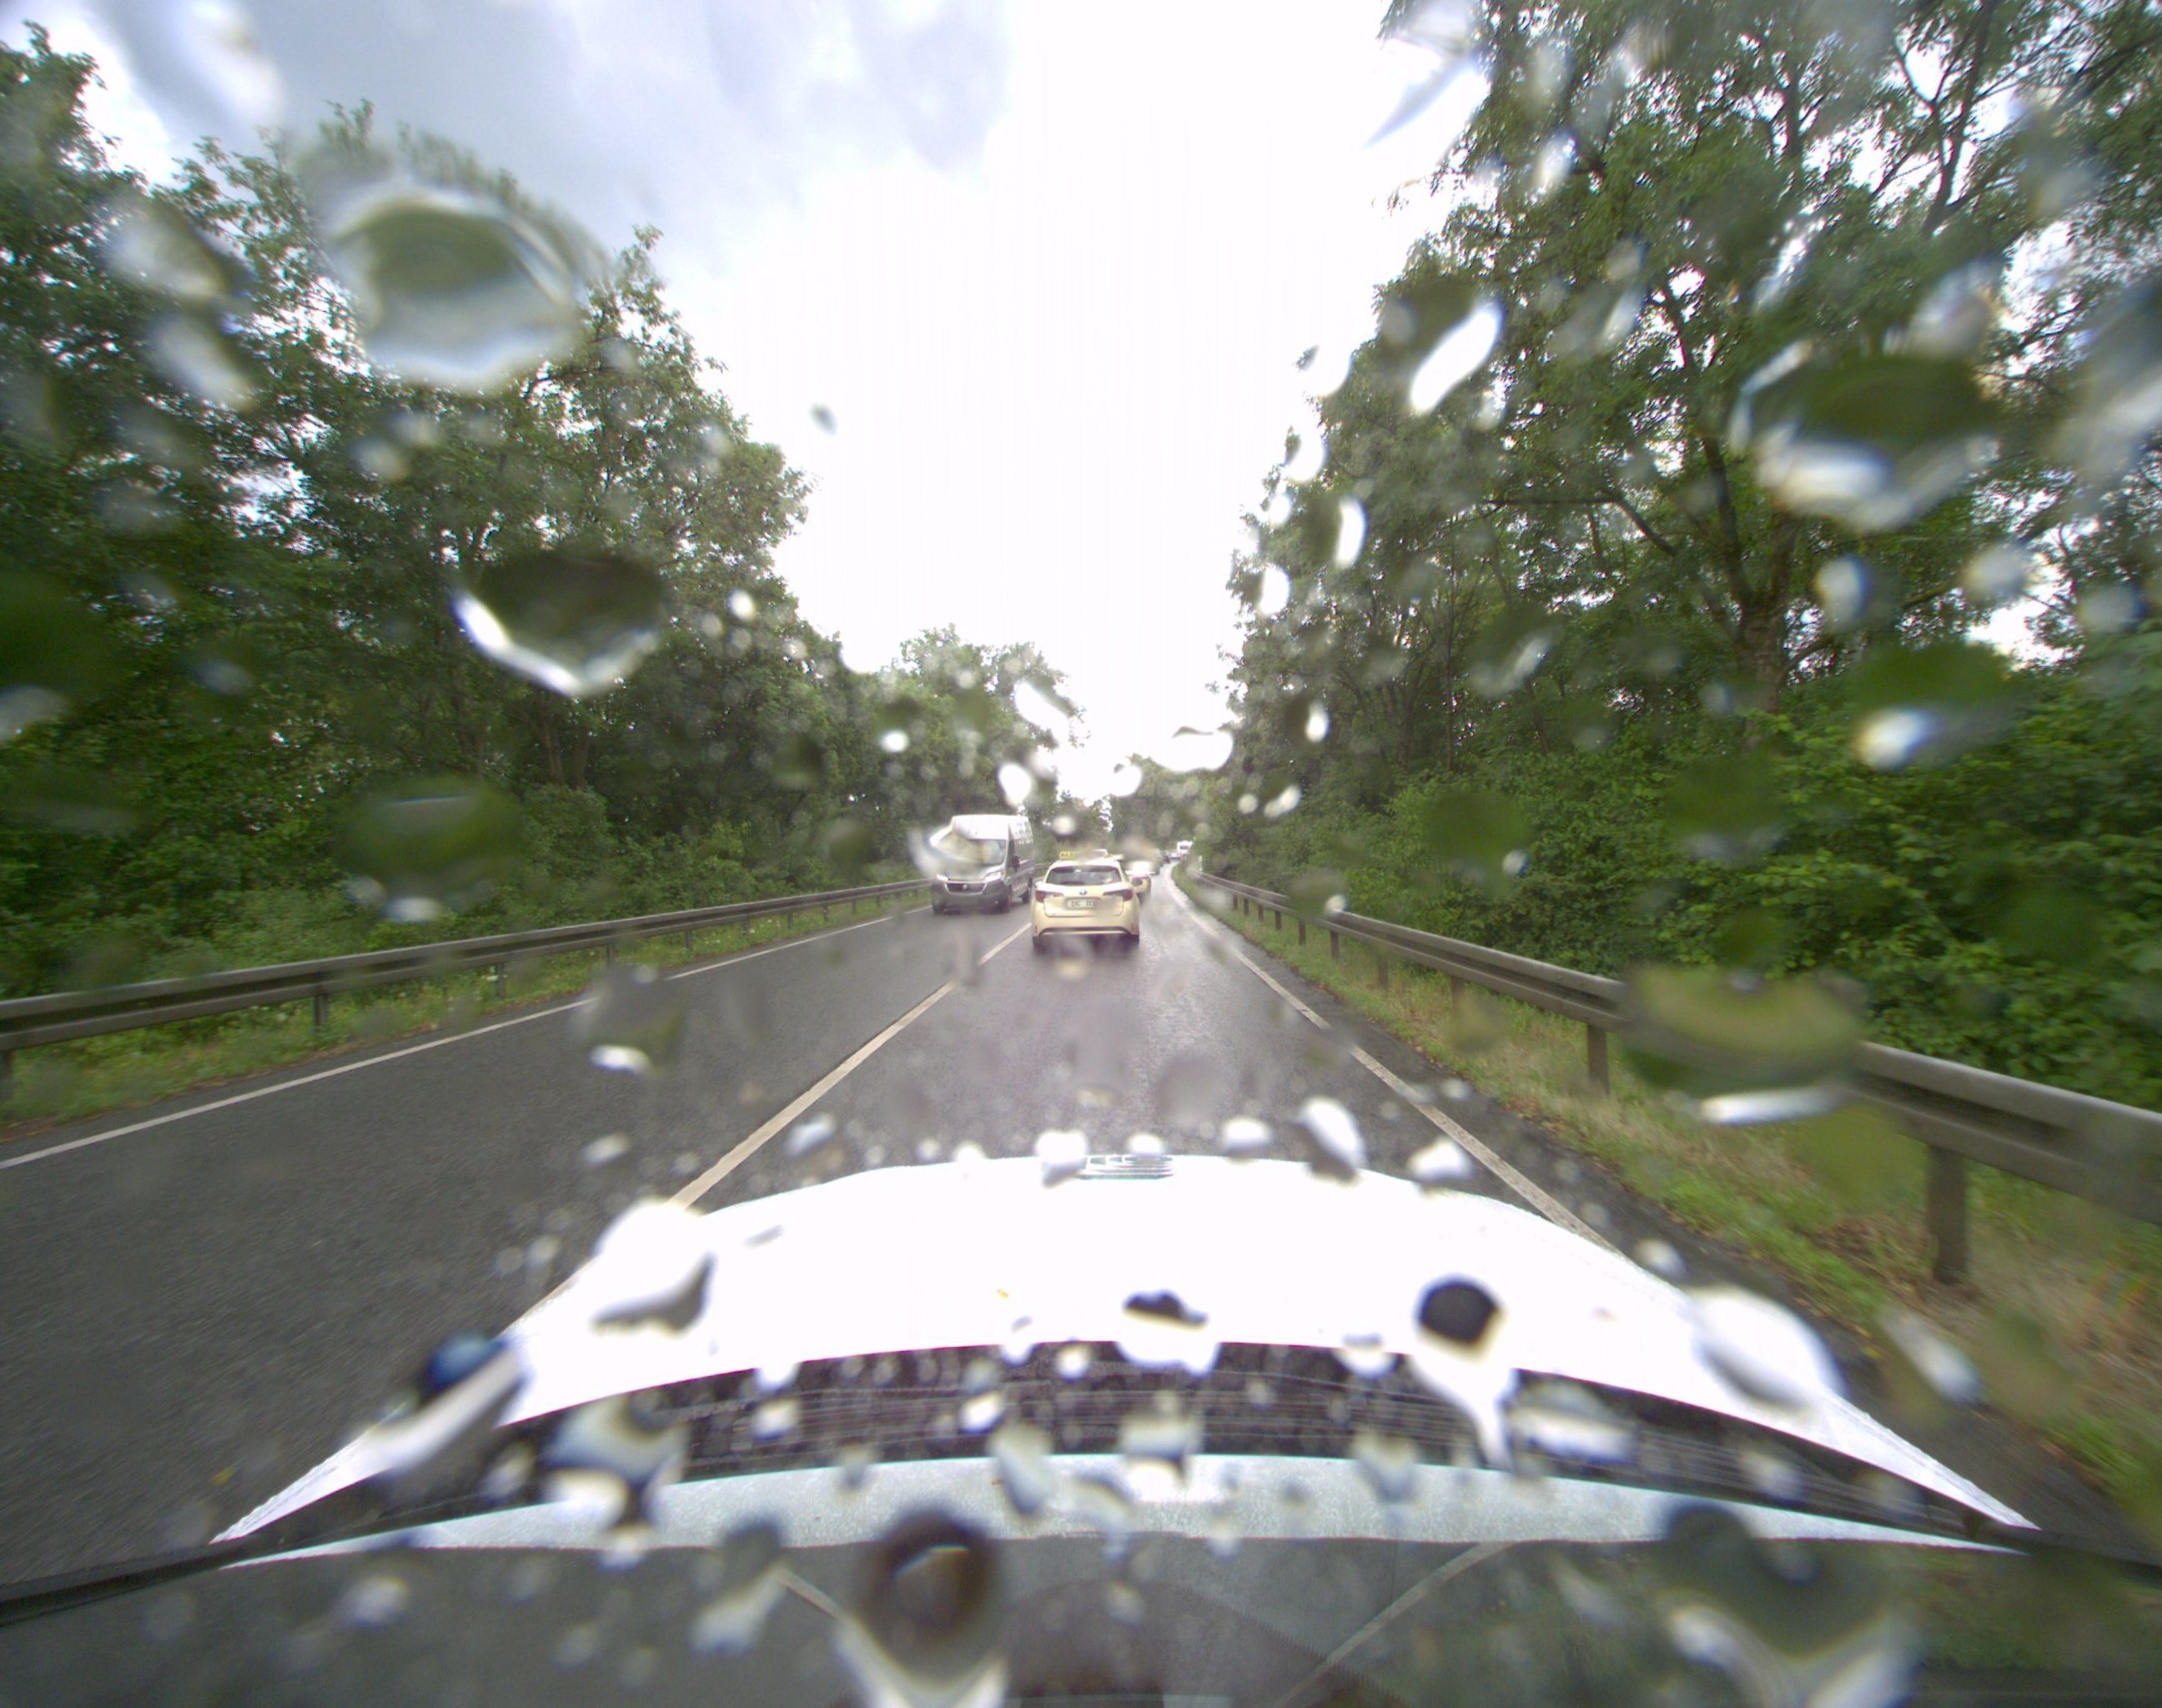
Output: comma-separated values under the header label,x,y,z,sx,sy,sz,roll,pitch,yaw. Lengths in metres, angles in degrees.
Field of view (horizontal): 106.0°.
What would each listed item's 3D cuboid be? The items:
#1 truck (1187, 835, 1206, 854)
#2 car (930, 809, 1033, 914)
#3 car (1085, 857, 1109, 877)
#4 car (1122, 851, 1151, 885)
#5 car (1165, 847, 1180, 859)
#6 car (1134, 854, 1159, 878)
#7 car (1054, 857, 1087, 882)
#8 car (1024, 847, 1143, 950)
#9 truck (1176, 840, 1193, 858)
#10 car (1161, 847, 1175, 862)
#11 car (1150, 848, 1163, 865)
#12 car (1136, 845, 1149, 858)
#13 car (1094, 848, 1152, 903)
label,x,y,z,sx,sy,sz,roll,pitch,yaw
truck,23.412,-1.851,164.194,3.085,3.680,7.025,-1,-1,14
car,-2.732,0.226,23.966,2.040,2.677,6.174,-1,-1,2
car,1.436,1.118,70.954,1.807,1.686,4.627,0,-1,4
car,2.606,0.647,38.569,1.295,1.547,3.262,0,-1,3
car,12.631,-0.094,111.977,1.759,1.547,3.824,-1,-1,10
car,4.494,0.816,55.594,1.604,1.547,3.818,-1,-1,4
car,-0.588,0.898,48.596,1.721,1.431,3.853,0,-1,3
car,0.176,0.704,14.540,1.826,1.580,4.161,0,-1,4
truck,17.147,-0.784,135.414,2.537,2.713,7.546,0,-1,5
car,9.961,0.075,92.999,1.607,1.613,3.628,0,-1,6
car,7.005,0.205,75.774,1.162,1.547,2.606,0,-1,3
car,9.935,-0.422,131.787,1.984,2.014,4.006,0,-1,5
car,1.357,0.654,25.779,1.660,1.580,3.896,0,-1,4
